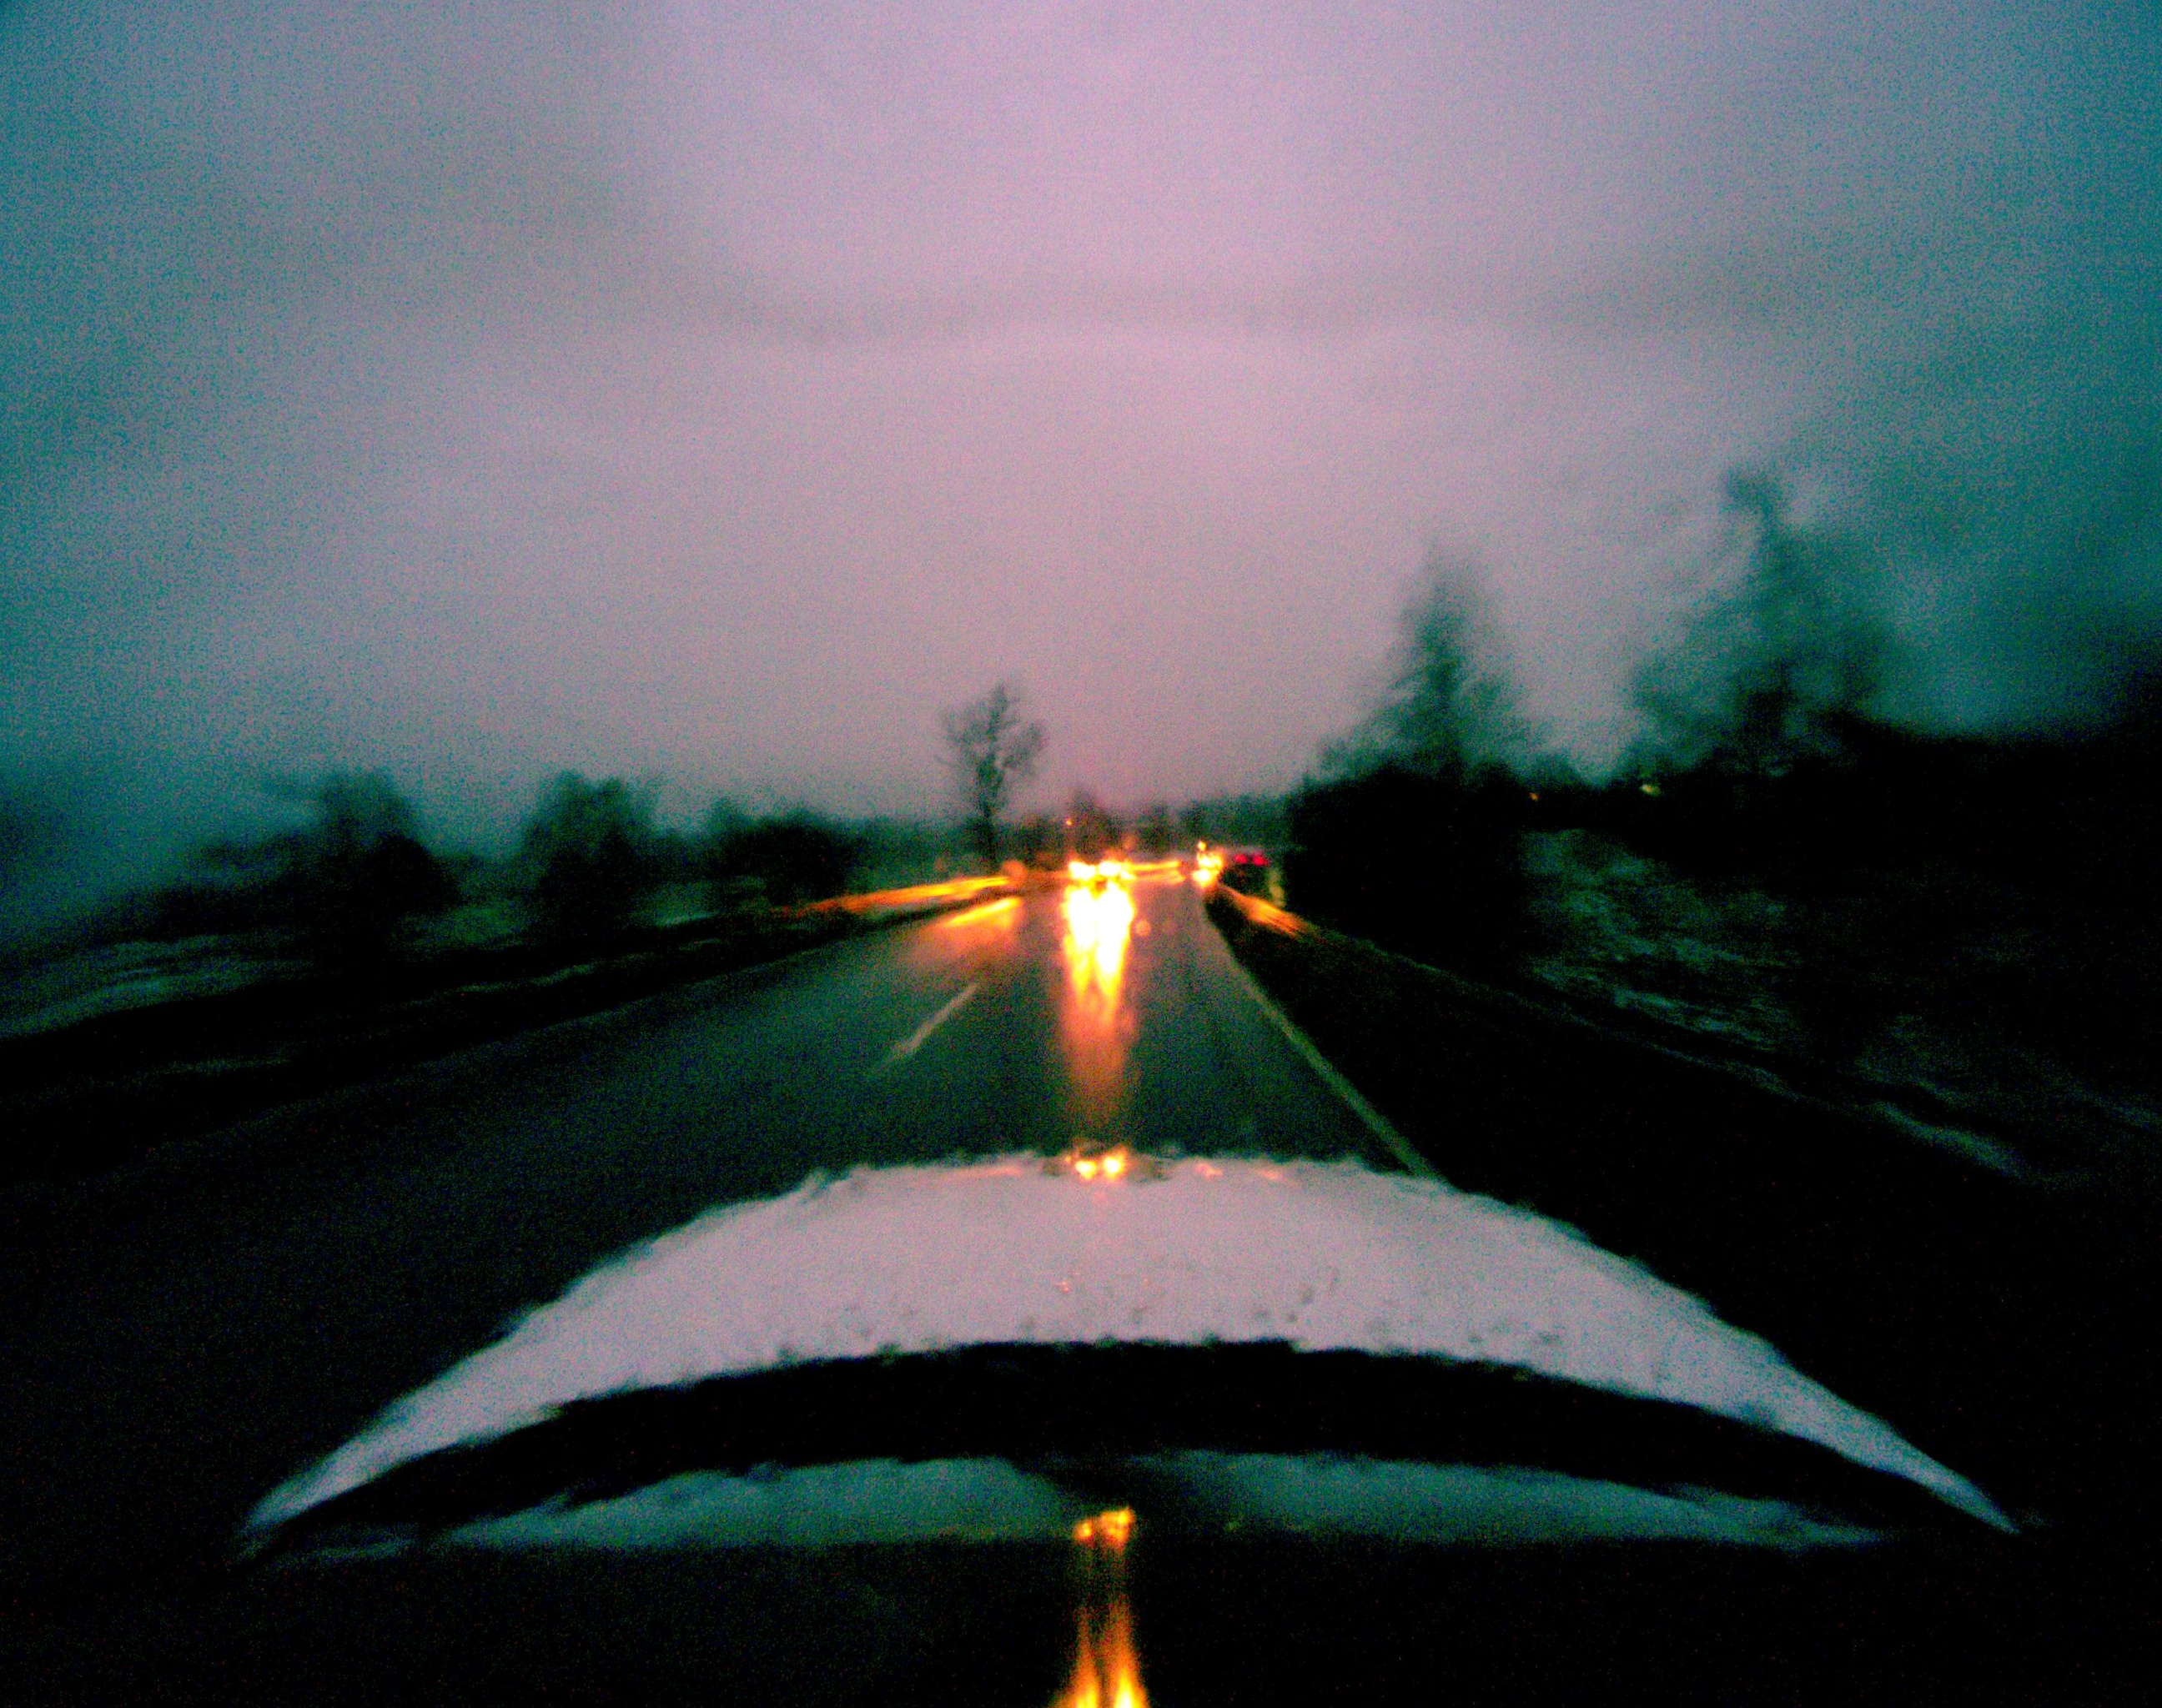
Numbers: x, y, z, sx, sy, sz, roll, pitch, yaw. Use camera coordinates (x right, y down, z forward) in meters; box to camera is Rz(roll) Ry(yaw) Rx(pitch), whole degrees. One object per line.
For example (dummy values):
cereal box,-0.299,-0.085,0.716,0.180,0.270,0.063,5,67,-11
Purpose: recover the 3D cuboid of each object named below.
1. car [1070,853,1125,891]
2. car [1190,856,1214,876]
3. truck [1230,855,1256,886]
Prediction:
car,0.861,0.813,39.238,1.999,1.634,4.884,-2,0,8
car,12.393,1.220,82.966,1.869,1.863,5.026,-2,0,14
truck,16.434,1.653,82.376,2.515,2.869,5.943,-1,1,12
